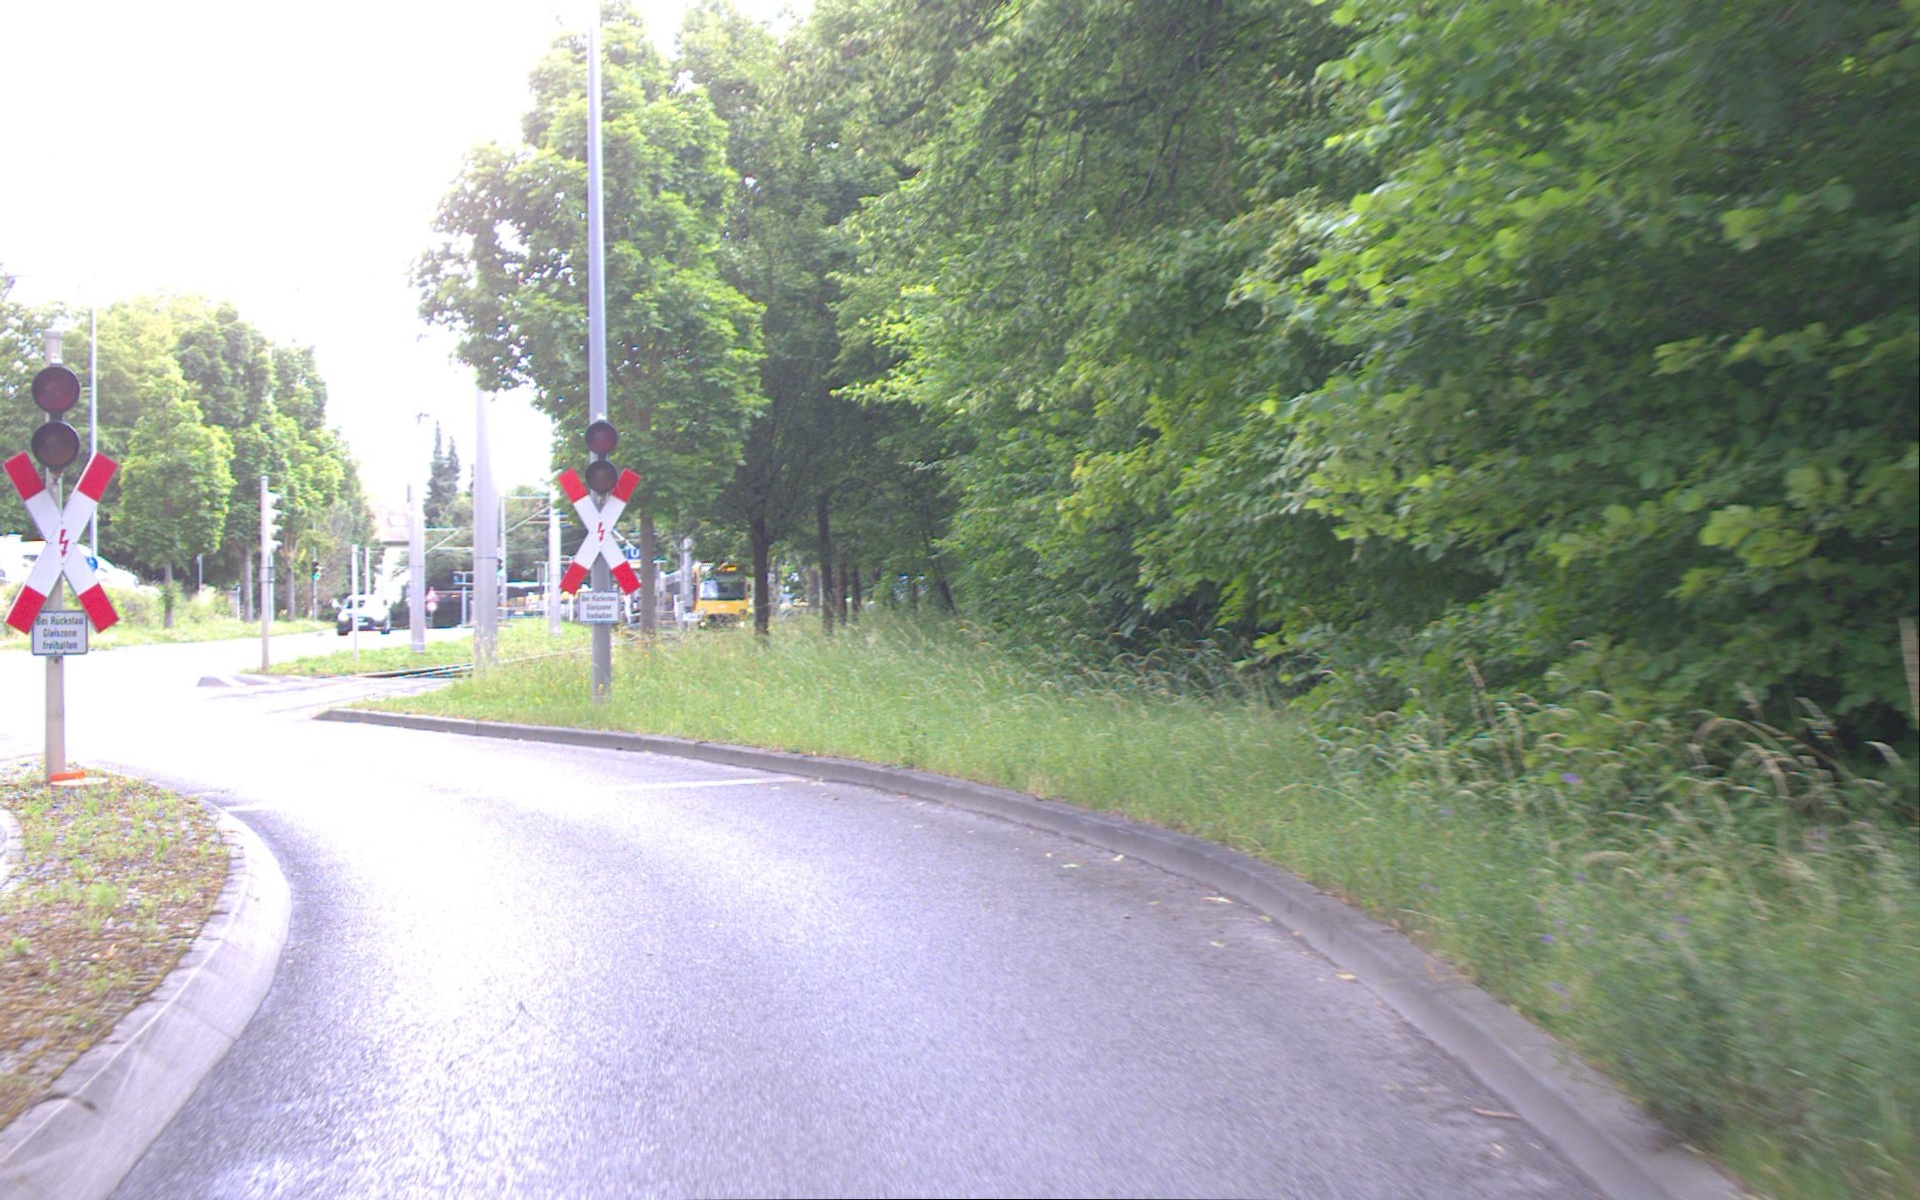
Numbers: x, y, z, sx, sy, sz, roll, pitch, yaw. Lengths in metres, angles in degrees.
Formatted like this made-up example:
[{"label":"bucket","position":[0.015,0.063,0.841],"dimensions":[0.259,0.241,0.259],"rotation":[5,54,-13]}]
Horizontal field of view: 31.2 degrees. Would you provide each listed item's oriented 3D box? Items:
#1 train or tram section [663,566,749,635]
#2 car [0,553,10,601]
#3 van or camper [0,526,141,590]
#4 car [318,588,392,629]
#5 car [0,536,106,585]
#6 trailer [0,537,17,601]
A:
[{"label":"train or tram section","position":[-13.776,0.012,183.645],"dimensions":[3.007,3.299,34.717],"rotation":[1,0,-7]},{"label":"car","position":[-31.491,-0.649,105.438],"dimensions":[4.310,1.444,1.836],"rotation":[-1,0,-7]},{"label":"van or camper","position":[-32.148,-1.503,122.902],"dimensions":[5.332,2.195,2.000],"rotation":[1,0,-4]},{"label":"car","position":[-22.378,0.309,127.263],"dimensions":[1.993,1.433,4.426],"rotation":[-1,0,-1]},{"label":"car","position":[-32.476,-1.373,120.259],"dimensions":[4.643,1.650,2.000],"rotation":[0,0,4]},{"label":"trailer","position":[-32.007,-0.988,108.460],"dimensions":[3.987,2.007,1.908],"rotation":[0,0,-1]}]
